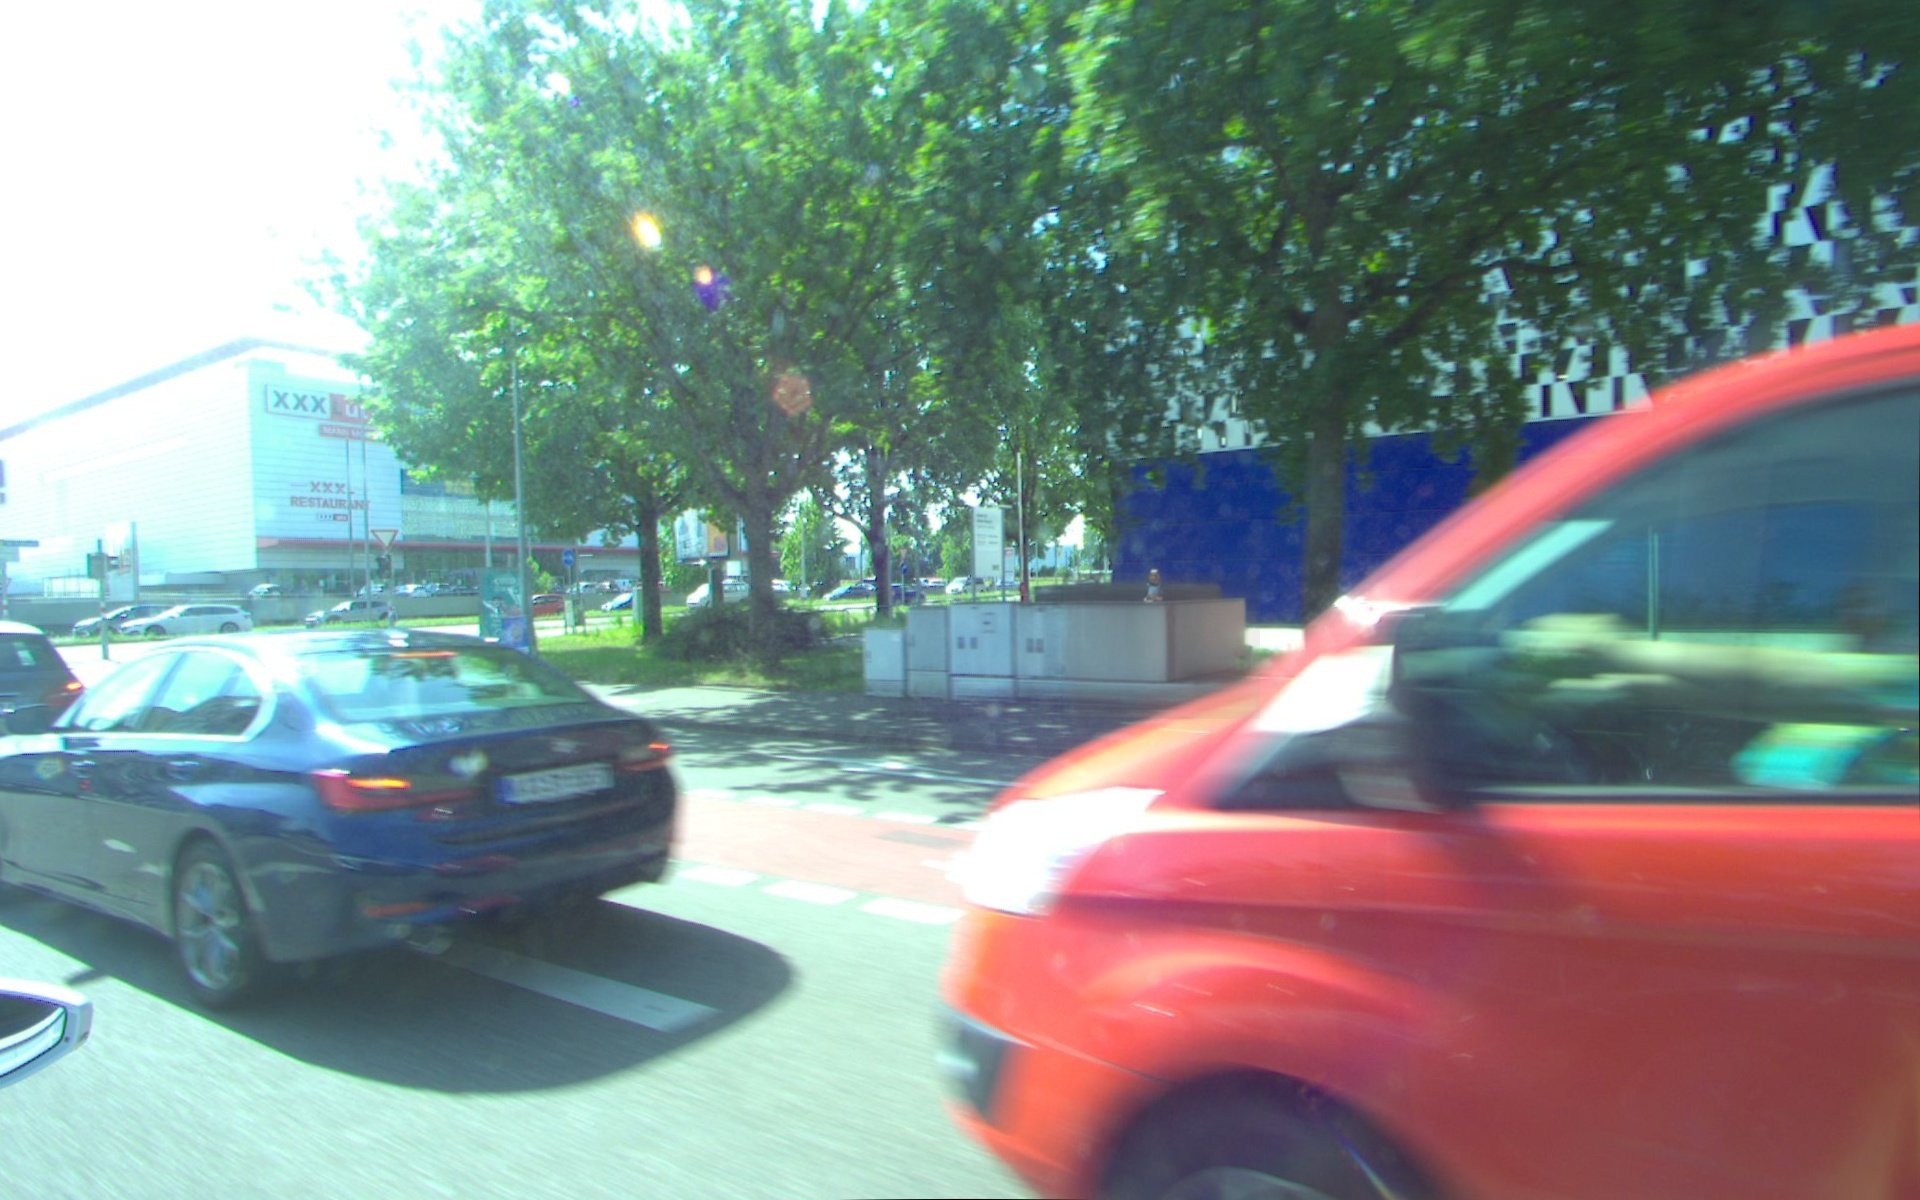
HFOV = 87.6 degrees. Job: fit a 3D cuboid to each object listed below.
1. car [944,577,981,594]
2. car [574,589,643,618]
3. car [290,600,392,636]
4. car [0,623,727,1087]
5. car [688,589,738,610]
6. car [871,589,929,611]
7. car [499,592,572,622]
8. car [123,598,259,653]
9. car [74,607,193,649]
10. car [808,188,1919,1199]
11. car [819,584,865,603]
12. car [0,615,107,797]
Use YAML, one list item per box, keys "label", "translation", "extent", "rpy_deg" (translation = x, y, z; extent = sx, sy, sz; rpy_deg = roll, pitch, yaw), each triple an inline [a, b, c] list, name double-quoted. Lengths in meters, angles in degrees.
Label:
- label: "car"
  translation: [0.255, -1.446, 96.283]
  extent: [1.462, 1.408, 4.016]
  rpy_deg: [0, 3, 36]
- label: "car"
  translation: [-21.370, 0.213, 60.946]
  extent: [1.462, 1.540, 3.757]
  rpy_deg: [0, 3, 36]
- label: "car"
  translation: [-31.642, 0.896, 51.279]
  extent: [1.462, 1.540, 4.115]
  rpy_deg: [0, 3, 36]
- label: "car"
  translation: [-3.420, 0.866, 5.152]
  extent: [4.411, 1.477, 1.743]
  rpy_deg: [-1, -1, 32]
- label: "car"
  translation: [-17.431, -0.064, 70.644]
  extent: [1.288, 1.285, 3.279]
  rpy_deg: [0, 3, 39]
- label: "car"
  translation: [-4.101, -0.030, 69.009]
  extent: [3.743, 1.266, 1.683]
  rpy_deg: [-5, 3, -42]
- label: "car"
  translation: [-25.386, 0.375, 60.034]
  extent: [1.462, 1.540, 3.757]
  rpy_deg: [0, 3, 36]
- label: "car"
  translation: [-33.612, 1.074, 43.865]
  extent: [1.462, 2.022, 4.383]
  rpy_deg: [0, 3, 36]
- label: "car"
  translation: [-36.741, 1.215, 44.594]
  extent: [1.462, 1.540, 3.757]
  rpy_deg: [0, 3, 36]
- label: "car"
  translation: [2.320, 0.496, 1.659]
  extent: [5.051, 1.993, 1.964]
  rpy_deg: [-1, 0, 32]
- label: "car"
  translation: [-9.602, -0.550, 81.694]
  extent: [1.462, 1.303, 3.757]
  rpy_deg: [-1, 3, 36]
- label: "car"
  translation: [-9.896, 0.921, 9.406]
  extent: [4.019, 1.536, 1.743]
  rpy_deg: [-1, -1, 32]
